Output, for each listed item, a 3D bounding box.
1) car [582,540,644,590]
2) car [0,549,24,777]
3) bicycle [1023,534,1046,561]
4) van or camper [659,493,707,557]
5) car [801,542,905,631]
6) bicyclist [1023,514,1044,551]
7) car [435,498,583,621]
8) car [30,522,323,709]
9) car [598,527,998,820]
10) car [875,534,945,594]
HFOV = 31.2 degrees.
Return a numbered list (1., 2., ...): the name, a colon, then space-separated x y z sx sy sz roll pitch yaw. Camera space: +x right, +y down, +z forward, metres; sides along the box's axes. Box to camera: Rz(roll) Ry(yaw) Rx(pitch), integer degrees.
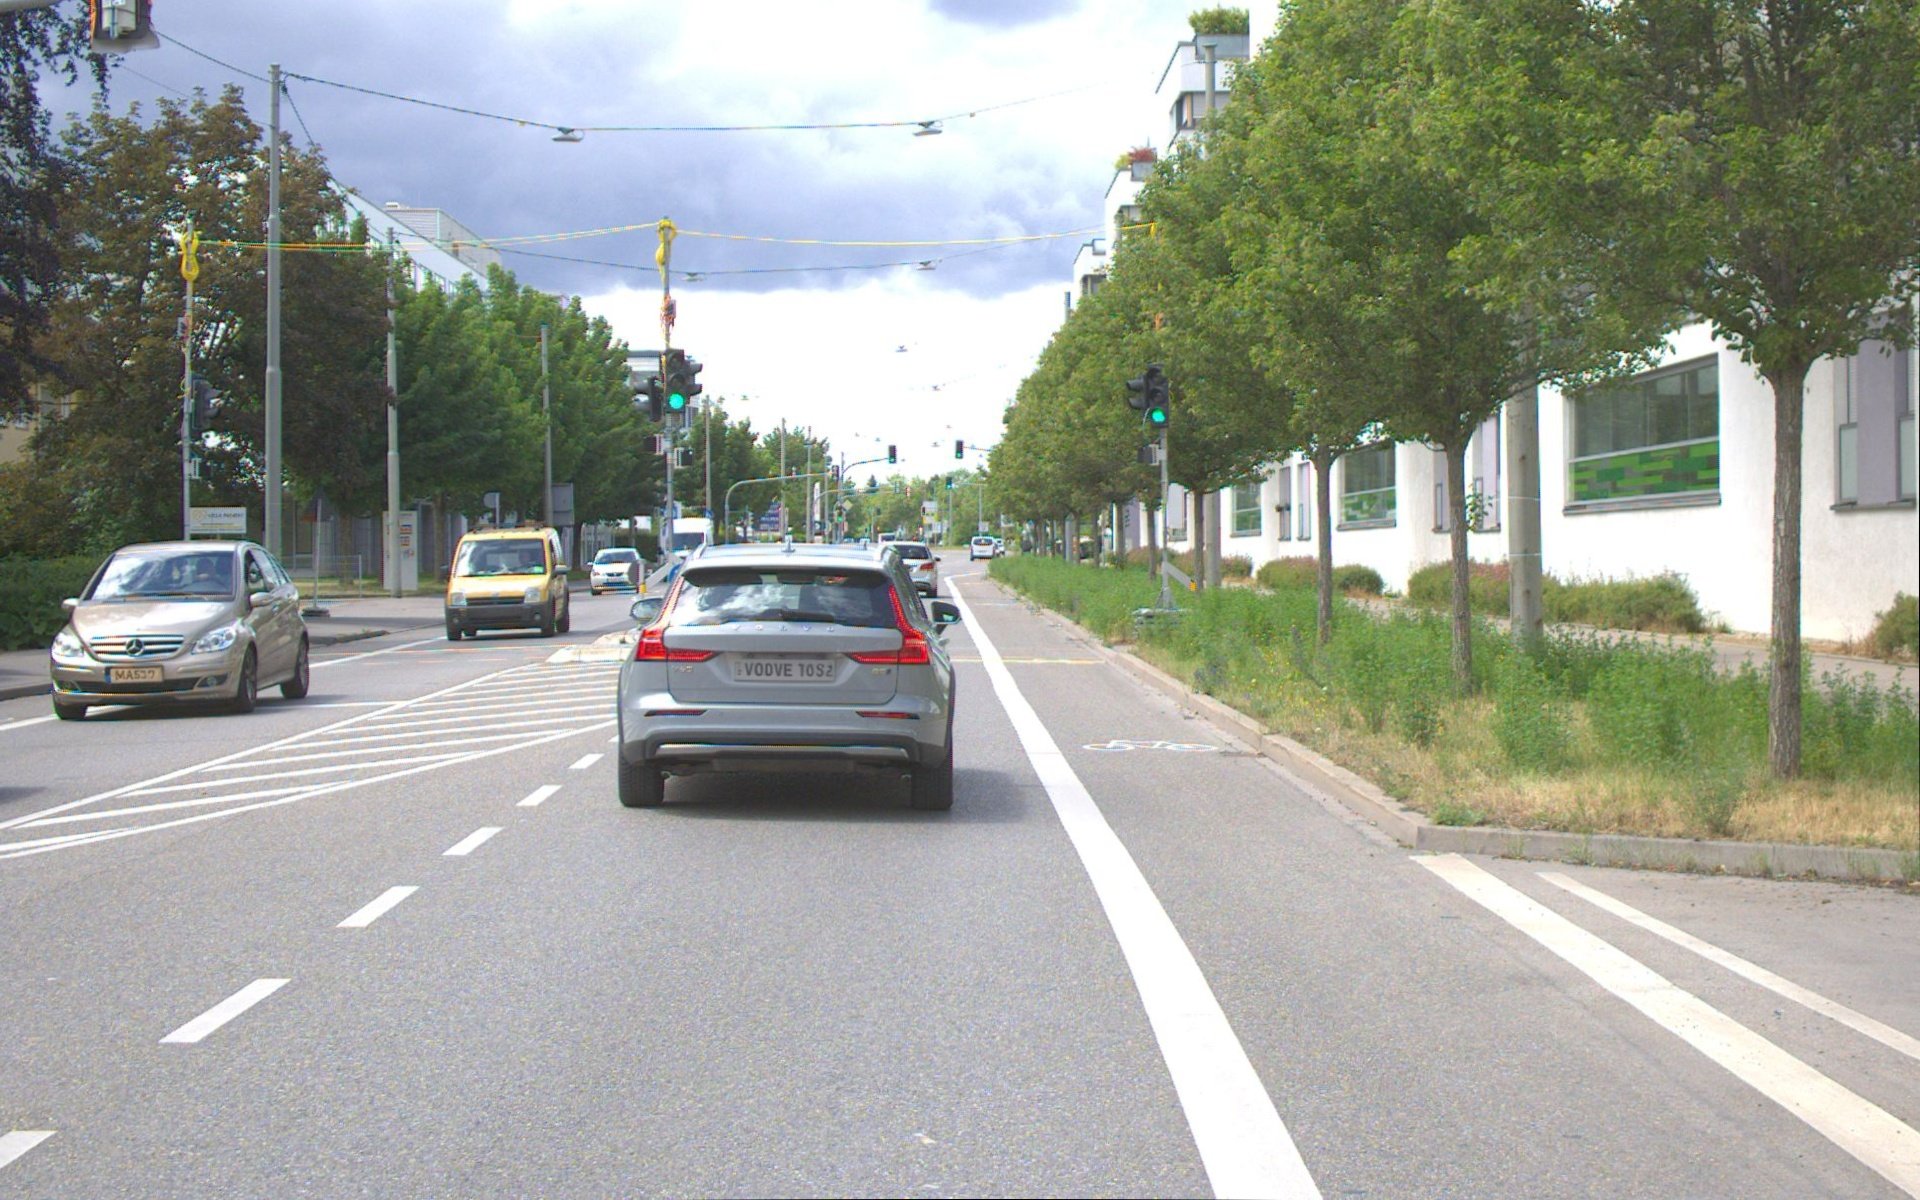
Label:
1. car: -11.186 -1.160 111.021 1.661 1.510 4.001 -1 2 -1
2. car: -6.890 0.491 19.189 1.993 1.395 4.811 -3 2 -1
3. bicycle: 4.064 -2.882 188.597 1.067 1.448 2.978 -2 2 -1
4. van or camper: -12.235 -3.316 151.766 1.993 2.724 6.054 -2 2 -5
5. car: -1.955 -0.273 63.182 1.854 1.508 4.001 0 2 -1
6. bicyclist: 4.028 -3.726 188.828 1.014 2.006 1.131 -2 2 -1
7. car: -7.393 -0.703 56.734 1.841 1.898 4.686 -2 2 -1
8. car: -7.292 0.089 32.397 1.749 1.550 4.402 -2 2 -1
9. car: -0.838 0.345 20.114 1.854 1.508 4.000 0 2 4
10. car: -1.356 -0.972 91.860 1.845 1.508 4.001 0 2 -1
